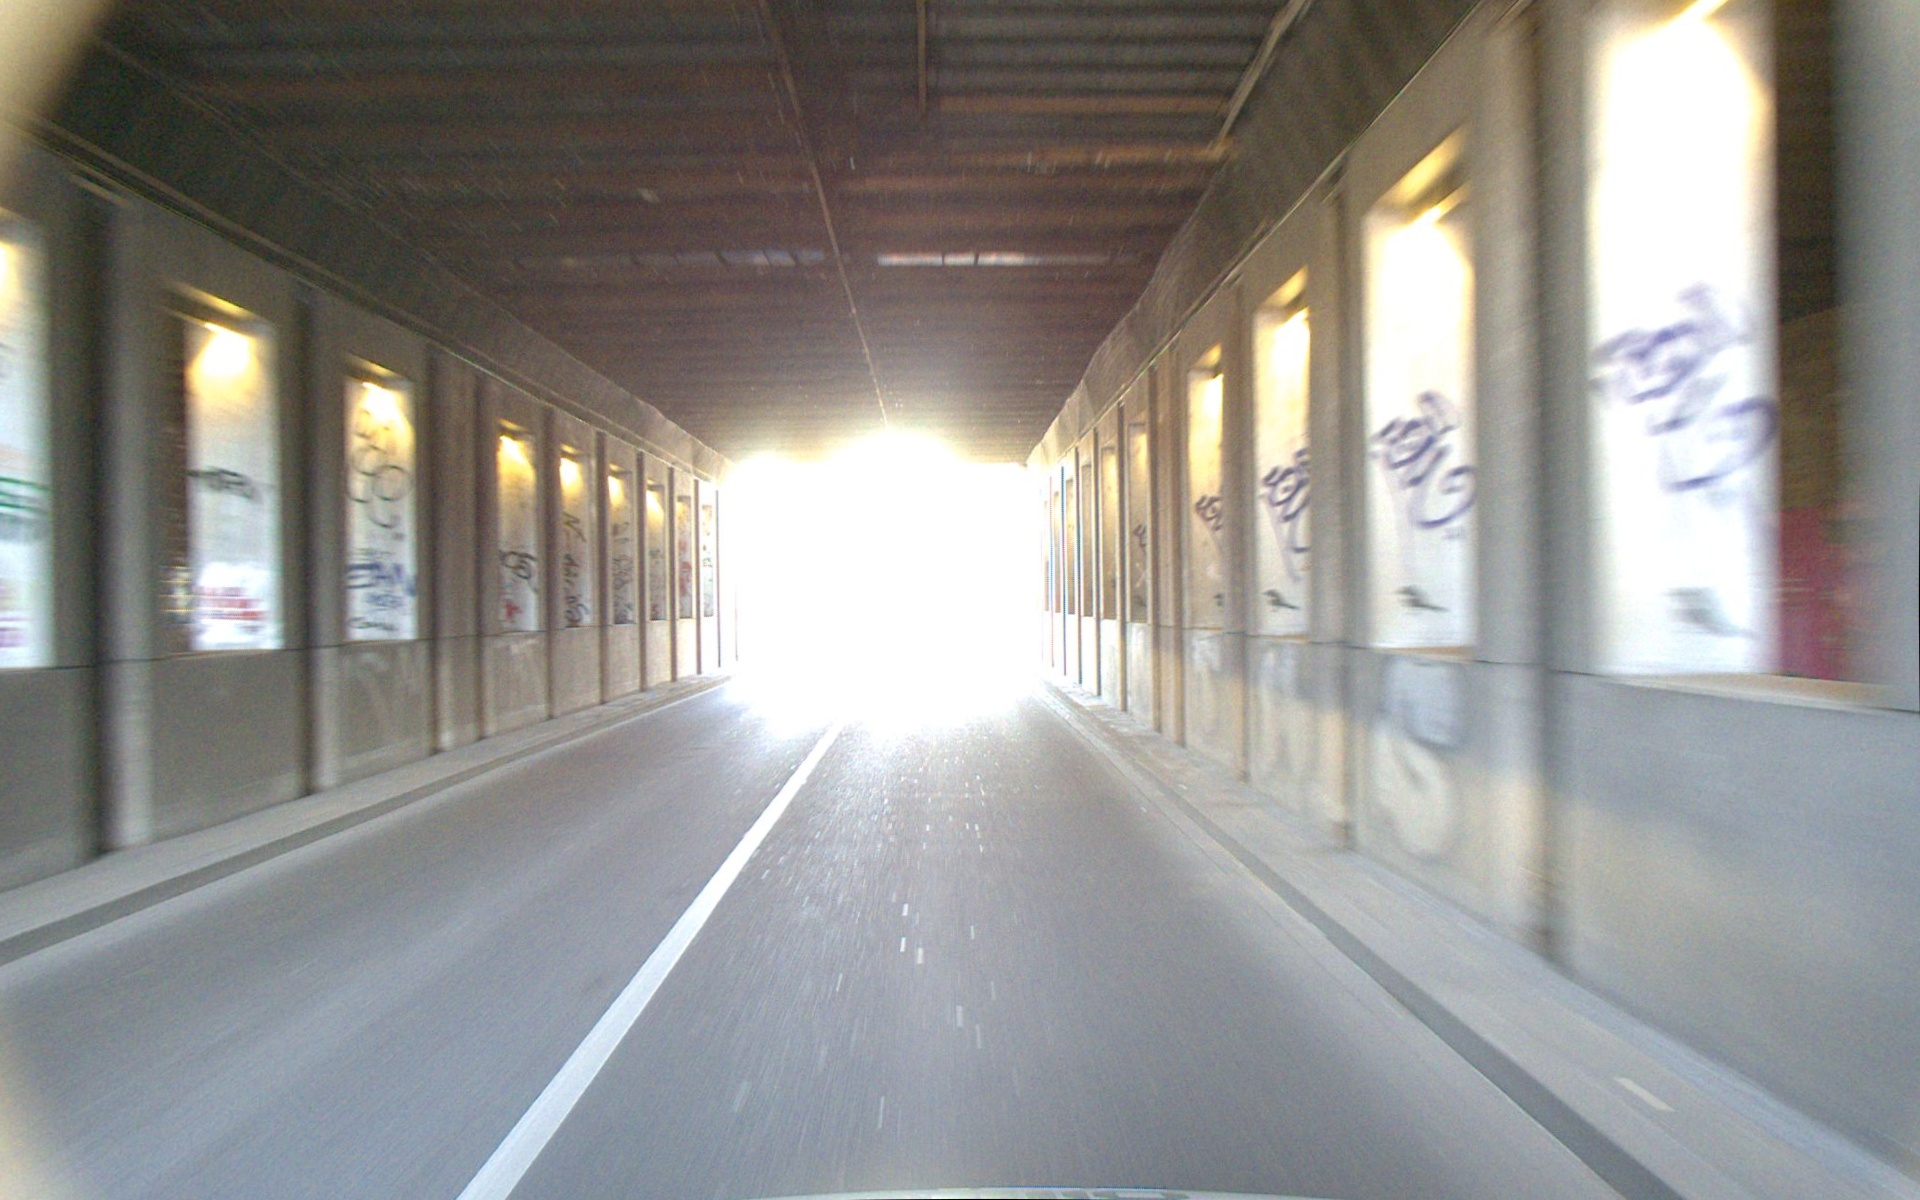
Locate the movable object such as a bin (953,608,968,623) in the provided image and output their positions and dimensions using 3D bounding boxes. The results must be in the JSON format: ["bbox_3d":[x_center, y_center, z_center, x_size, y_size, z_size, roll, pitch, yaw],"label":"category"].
[{"bbox_3d":[0.028,1.543,165.282,1.339,1.443,1.063,2,-1,-8],"label":"movable object such as a bin"}]

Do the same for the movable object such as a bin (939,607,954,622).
[{"bbox_3d":[-1.353,1.489,165.060,1.339,1.443,1.063,2,-1,-8],"label":"movable object such as a bin"}]
